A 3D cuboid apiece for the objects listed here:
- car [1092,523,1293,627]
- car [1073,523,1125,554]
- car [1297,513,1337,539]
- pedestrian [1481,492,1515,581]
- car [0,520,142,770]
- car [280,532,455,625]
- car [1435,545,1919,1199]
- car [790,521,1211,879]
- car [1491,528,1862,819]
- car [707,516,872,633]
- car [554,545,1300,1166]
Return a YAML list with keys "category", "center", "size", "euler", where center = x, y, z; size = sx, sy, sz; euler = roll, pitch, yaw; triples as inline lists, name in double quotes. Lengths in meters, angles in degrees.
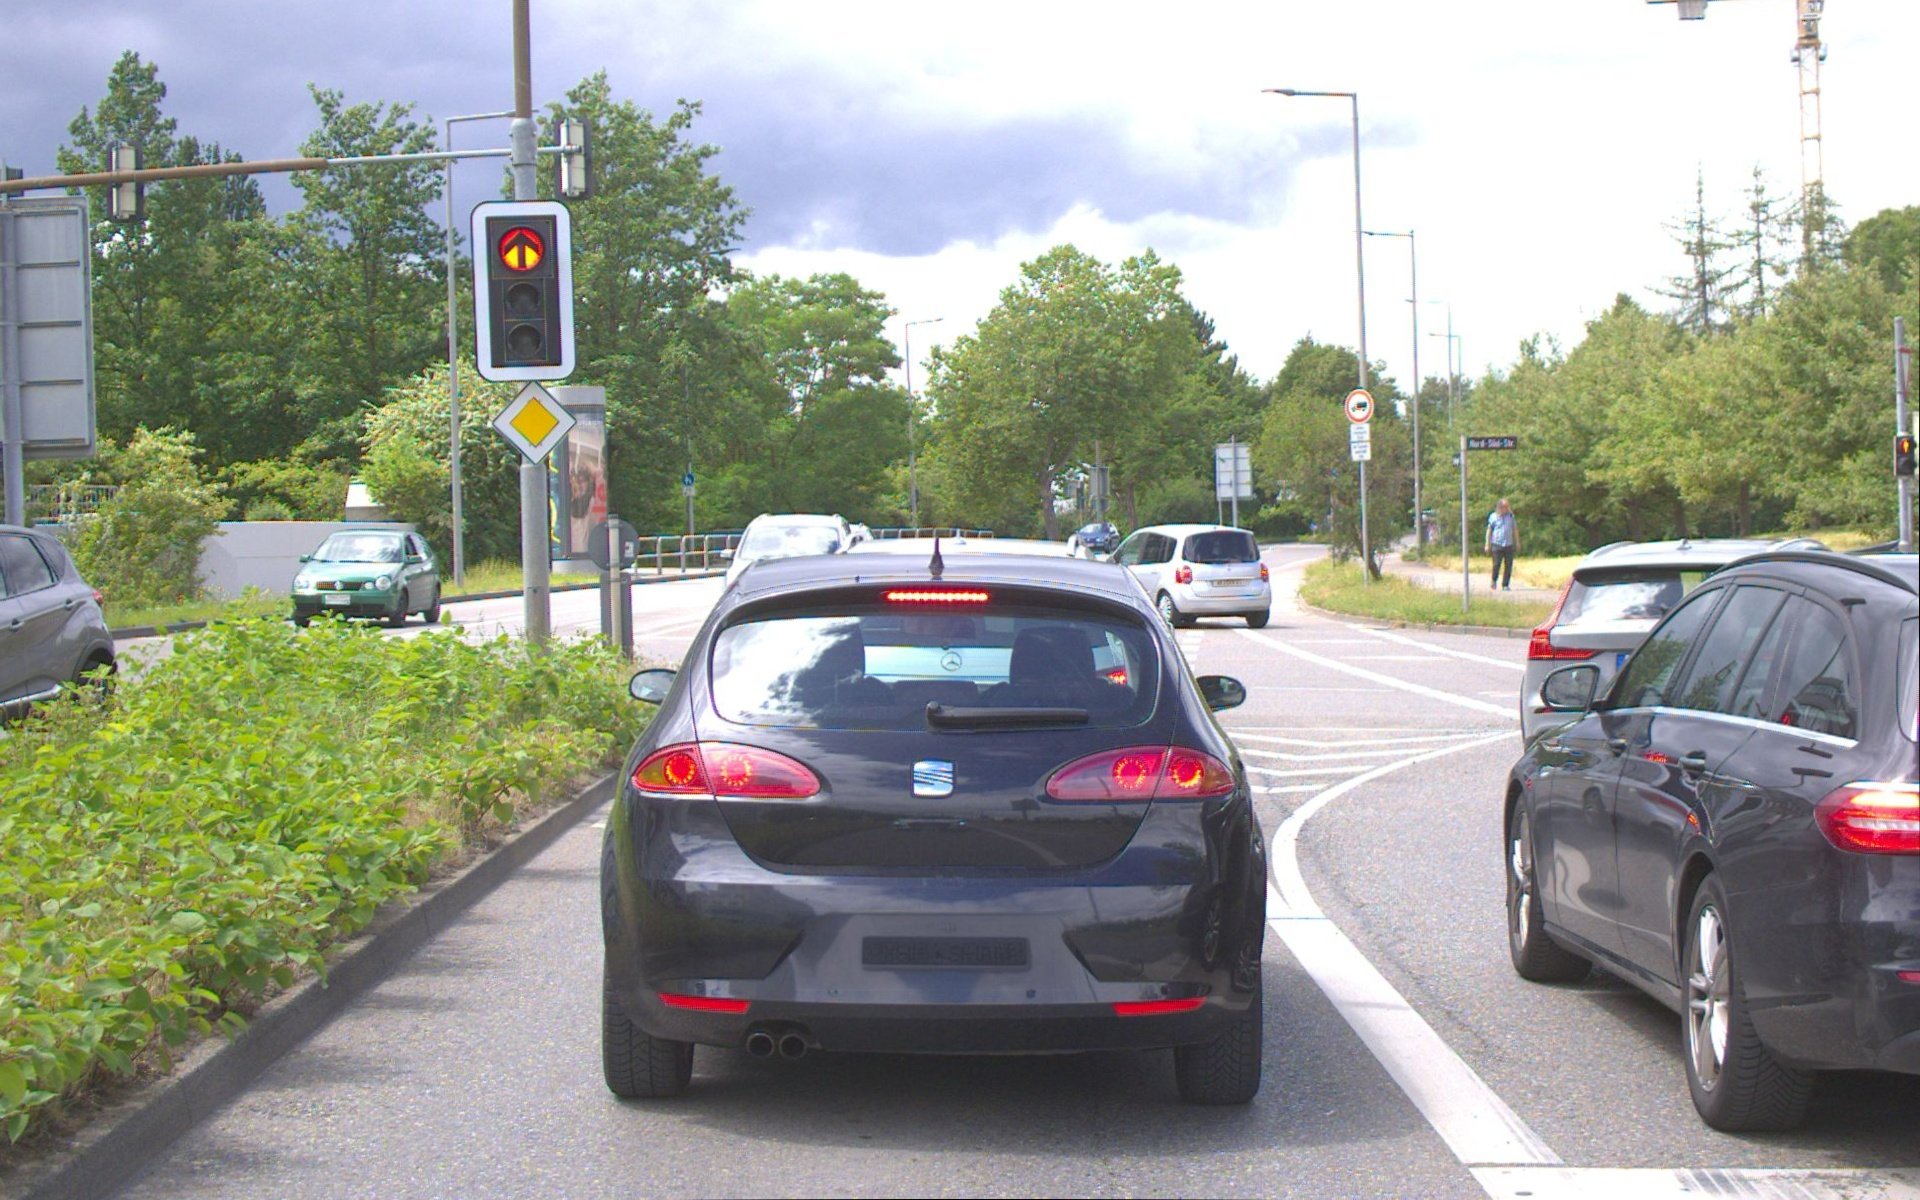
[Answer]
- category: "car"
  center: [3.576, -0.421, 53.525]
  size: [1.993, 1.525, 4.001]
  euler: [-1, 1, -14]
- category: "car"
  center: [6.254, -2.760, 154.390]
  size: [1.994, 1.347, 3.999]
  euler: [0, 1, 8]
- category: "car"
  center: [19.222, -3.996, 185.007]
  size: [1.994, 1.347, 3.999]
  euler: [0, 1, 8]
- category: "pedestrian"
  center: [10.400, -1.228, 66.461]
  size: [0.559, 1.720, 0.588]
  euler: [0, 1, 1]
- category: "car"
  center: [-6.781, 0.278, 21.385]
  size: [1.935, 1.511, 3.999]
  euler: [0, 2, 8]
- category: "car"
  center: [-8.953, -0.353, 52.269]
  size: [1.993, 1.347, 4.000]
  euler: [0, 1, 0]
- category: "car"
  center: [2.715, 0.599, 9.959]
  size: [1.872, 1.436, 5.200]
  euler: [-1, 1, -1]
- category: "car"
  center: [0.096, 0.388, 16.514]
  size: [1.773, 1.486, 3.583]
  euler: [-1, 1, -3]
- category: "car"
  center: [4.205, 0.356, 20.783]
  size: [1.863, 1.513, 4.445]
  euler: [-1, 1, 8]
- category: "car"
  center: [-2.412, -0.403, 49.595]
  size: [1.994, 1.590, 4.000]
  euler: [0, 1, 3]
- category: "car"
  center: [-0.094, 0.582, 9.992]
  size: [1.773, 1.447, 3.582]
  euler: [0, 1, 0]
